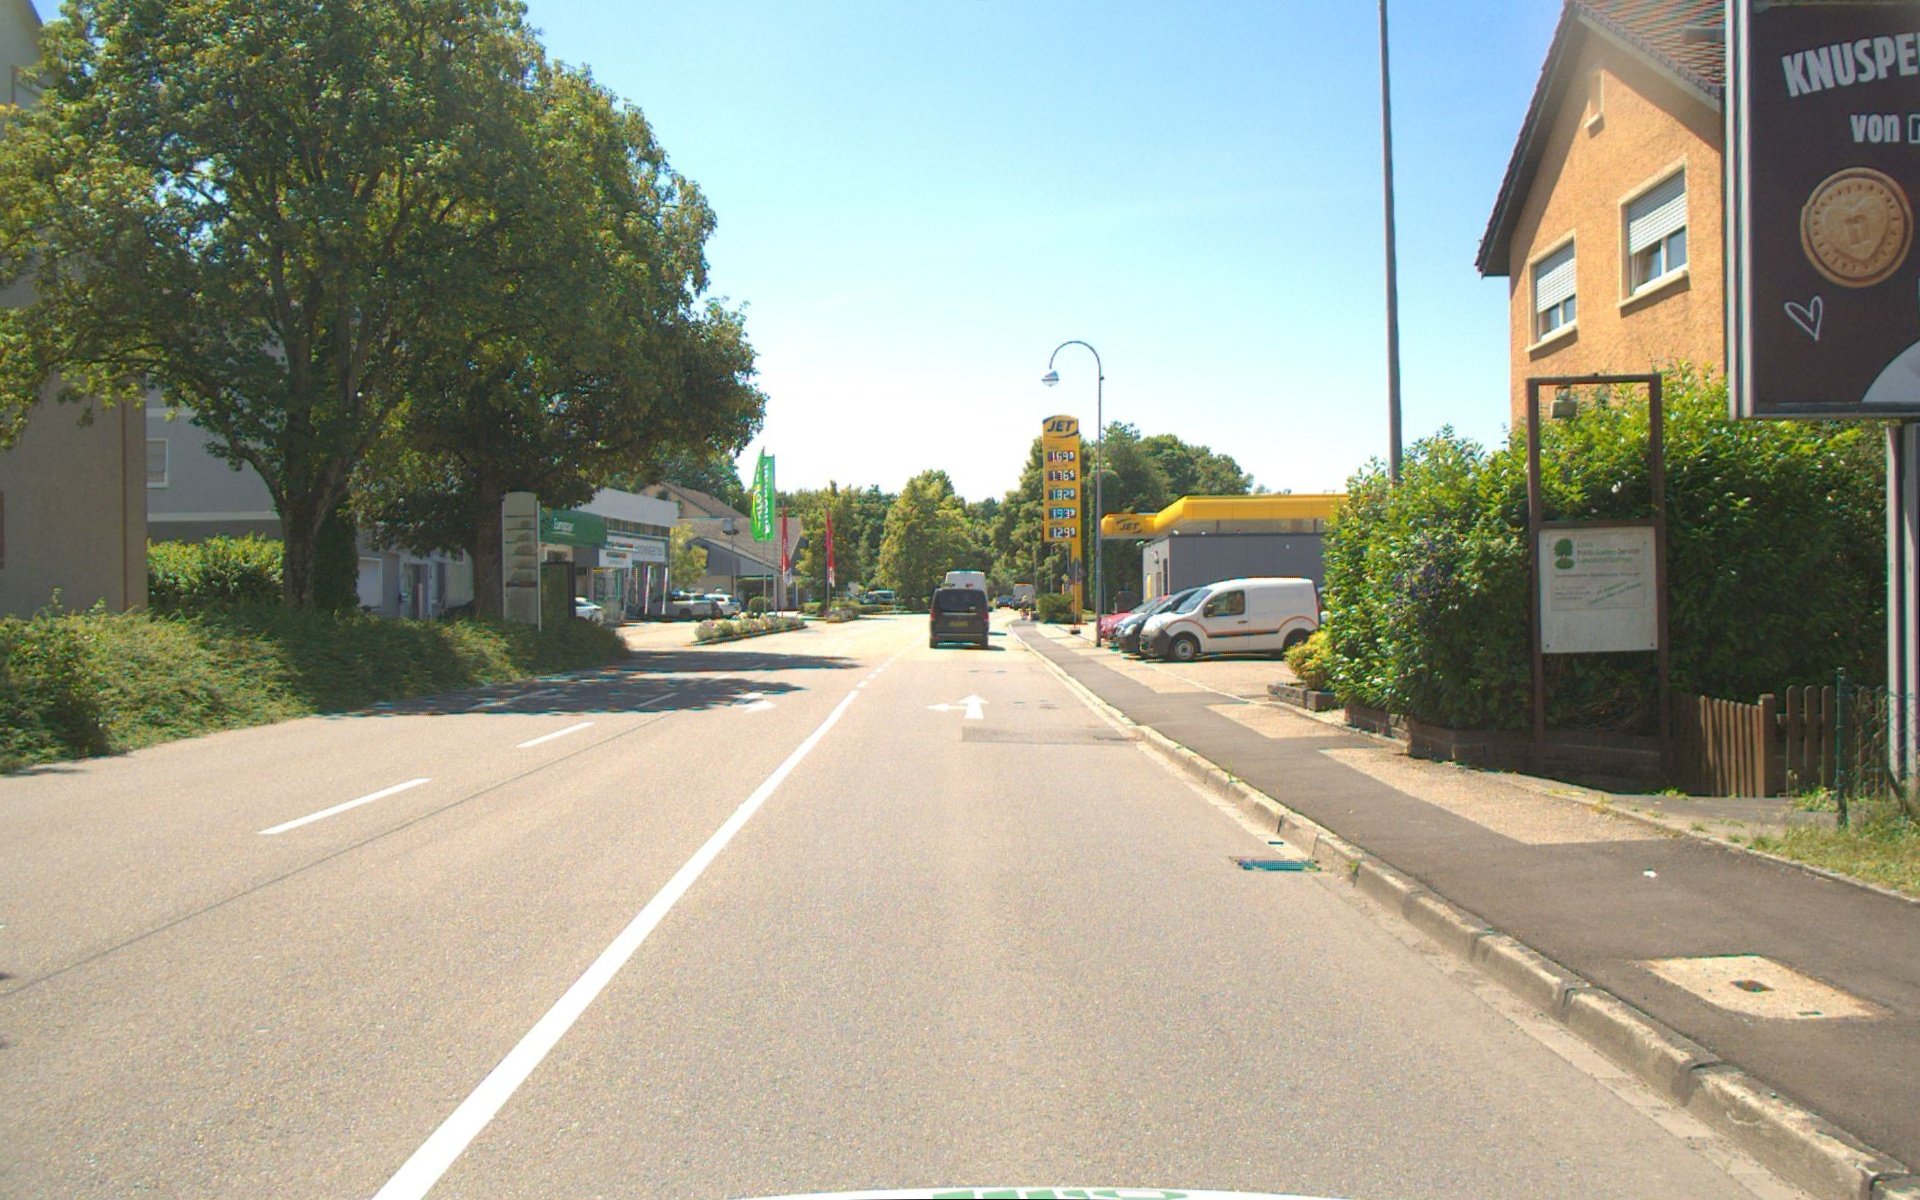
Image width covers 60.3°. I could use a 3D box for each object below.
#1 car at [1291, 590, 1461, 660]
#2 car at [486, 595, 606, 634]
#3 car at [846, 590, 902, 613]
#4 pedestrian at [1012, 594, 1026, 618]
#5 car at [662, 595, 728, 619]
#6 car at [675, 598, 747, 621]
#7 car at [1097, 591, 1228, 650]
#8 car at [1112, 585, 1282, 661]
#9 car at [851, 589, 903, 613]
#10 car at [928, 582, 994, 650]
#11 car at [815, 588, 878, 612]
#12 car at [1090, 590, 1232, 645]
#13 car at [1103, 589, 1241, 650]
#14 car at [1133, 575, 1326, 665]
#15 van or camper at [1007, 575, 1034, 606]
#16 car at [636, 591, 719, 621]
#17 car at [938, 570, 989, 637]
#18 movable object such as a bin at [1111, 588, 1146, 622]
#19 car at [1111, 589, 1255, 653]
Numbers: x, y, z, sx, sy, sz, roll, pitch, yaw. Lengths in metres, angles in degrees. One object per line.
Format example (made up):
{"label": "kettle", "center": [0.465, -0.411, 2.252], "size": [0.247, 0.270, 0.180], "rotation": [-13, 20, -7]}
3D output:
{"label": "car", "center": [10.039, 0.587, 40.080], "size": [3.535, 1.493, 1.947], "rotation": [3, 0, -5]}
{"label": "car", "center": [-15.908, 0.540, 63.605], "size": [4.280, 1.464, 1.927], "rotation": [0, 0, -22]}
{"label": "car", "center": [-7.226, 0.142, 139.081], "size": [4.291, 1.877, 2.105], "rotation": [0, -1, 11]}
{"label": "pedestrian", "center": [3.673, 0.365, 102.425], "size": [0.752, 1.446, 0.868], "rotation": [0, 0, 9]}
{"label": "car", "center": [-16.478, 0.420, 102.793], "size": [3.550, 1.500, 2.001], "rotation": [0, 0, 20]}
{"label": "car", "center": [-15.877, 0.593, 105.581], "size": [4.095, 1.472, 1.981], "rotation": [0, 0, 17]}
{"label": "car", "center": [5.970, 0.590, 49.026], "size": [3.611, 1.594, 1.707], "rotation": [-1, 1, -3]}
{"label": "car", "center": [5.701, 0.542, 40.103], "size": [3.798, 1.710, 1.762], "rotation": [-1, 0, -3]}
{"label": "car", "center": [-7.119, 0.091, 141.798], "size": [4.265, 2.015, 1.905], "rotation": [1, -1, 2]}
{"label": "car", "center": [0.000, 0.488, 52.460], "size": [1.953, 1.987, 5.004], "rotation": [2, 0, -1]}
{"label": "car", "center": [-9.025, 0.001, 131.626], "size": [4.607, 1.793, 2.100], "rotation": [0, -1, 9]}
{"label": "car", "center": [6.216, 0.521, 51.495], "size": [4.138, 1.561, 1.958], "rotation": [-1, 1, -1]}
{"label": "car", "center": [5.957, 0.533, 46.719], "size": [3.611, 1.594, 1.749], "rotation": [-1, 1, -4]}
{"label": "car", "center": [6.156, 0.434, 38.009], "size": [4.054, 1.972, 1.806], "rotation": [0, 0, -5]}
{"label": "van or camper", "center": [6.079, -0.932, 165.857], "size": [2.577, 2.980, 5.207], "rotation": [1, 0, 1]}
{"label": "car", "center": [-16.689, 0.347, 97.807], "size": [4.436, 1.693, 2.001], "rotation": [0, 0, 20]}
{"label": "car", "center": [0.195, 0.141, 71.076], "size": [2.035, 2.750, 4.667], "rotation": [2, 0, 1]}
{"label": "movable object such as a bin", "center": [7.618, 0.220, 74.807], "size": [1.404, 1.463, 1.468], "rotation": [-2, 0, 1]}
{"label": "car", "center": [5.961, 0.546, 44.451], "size": [3.610, 1.594, 1.641], "rotation": [-1, 0, -2]}
